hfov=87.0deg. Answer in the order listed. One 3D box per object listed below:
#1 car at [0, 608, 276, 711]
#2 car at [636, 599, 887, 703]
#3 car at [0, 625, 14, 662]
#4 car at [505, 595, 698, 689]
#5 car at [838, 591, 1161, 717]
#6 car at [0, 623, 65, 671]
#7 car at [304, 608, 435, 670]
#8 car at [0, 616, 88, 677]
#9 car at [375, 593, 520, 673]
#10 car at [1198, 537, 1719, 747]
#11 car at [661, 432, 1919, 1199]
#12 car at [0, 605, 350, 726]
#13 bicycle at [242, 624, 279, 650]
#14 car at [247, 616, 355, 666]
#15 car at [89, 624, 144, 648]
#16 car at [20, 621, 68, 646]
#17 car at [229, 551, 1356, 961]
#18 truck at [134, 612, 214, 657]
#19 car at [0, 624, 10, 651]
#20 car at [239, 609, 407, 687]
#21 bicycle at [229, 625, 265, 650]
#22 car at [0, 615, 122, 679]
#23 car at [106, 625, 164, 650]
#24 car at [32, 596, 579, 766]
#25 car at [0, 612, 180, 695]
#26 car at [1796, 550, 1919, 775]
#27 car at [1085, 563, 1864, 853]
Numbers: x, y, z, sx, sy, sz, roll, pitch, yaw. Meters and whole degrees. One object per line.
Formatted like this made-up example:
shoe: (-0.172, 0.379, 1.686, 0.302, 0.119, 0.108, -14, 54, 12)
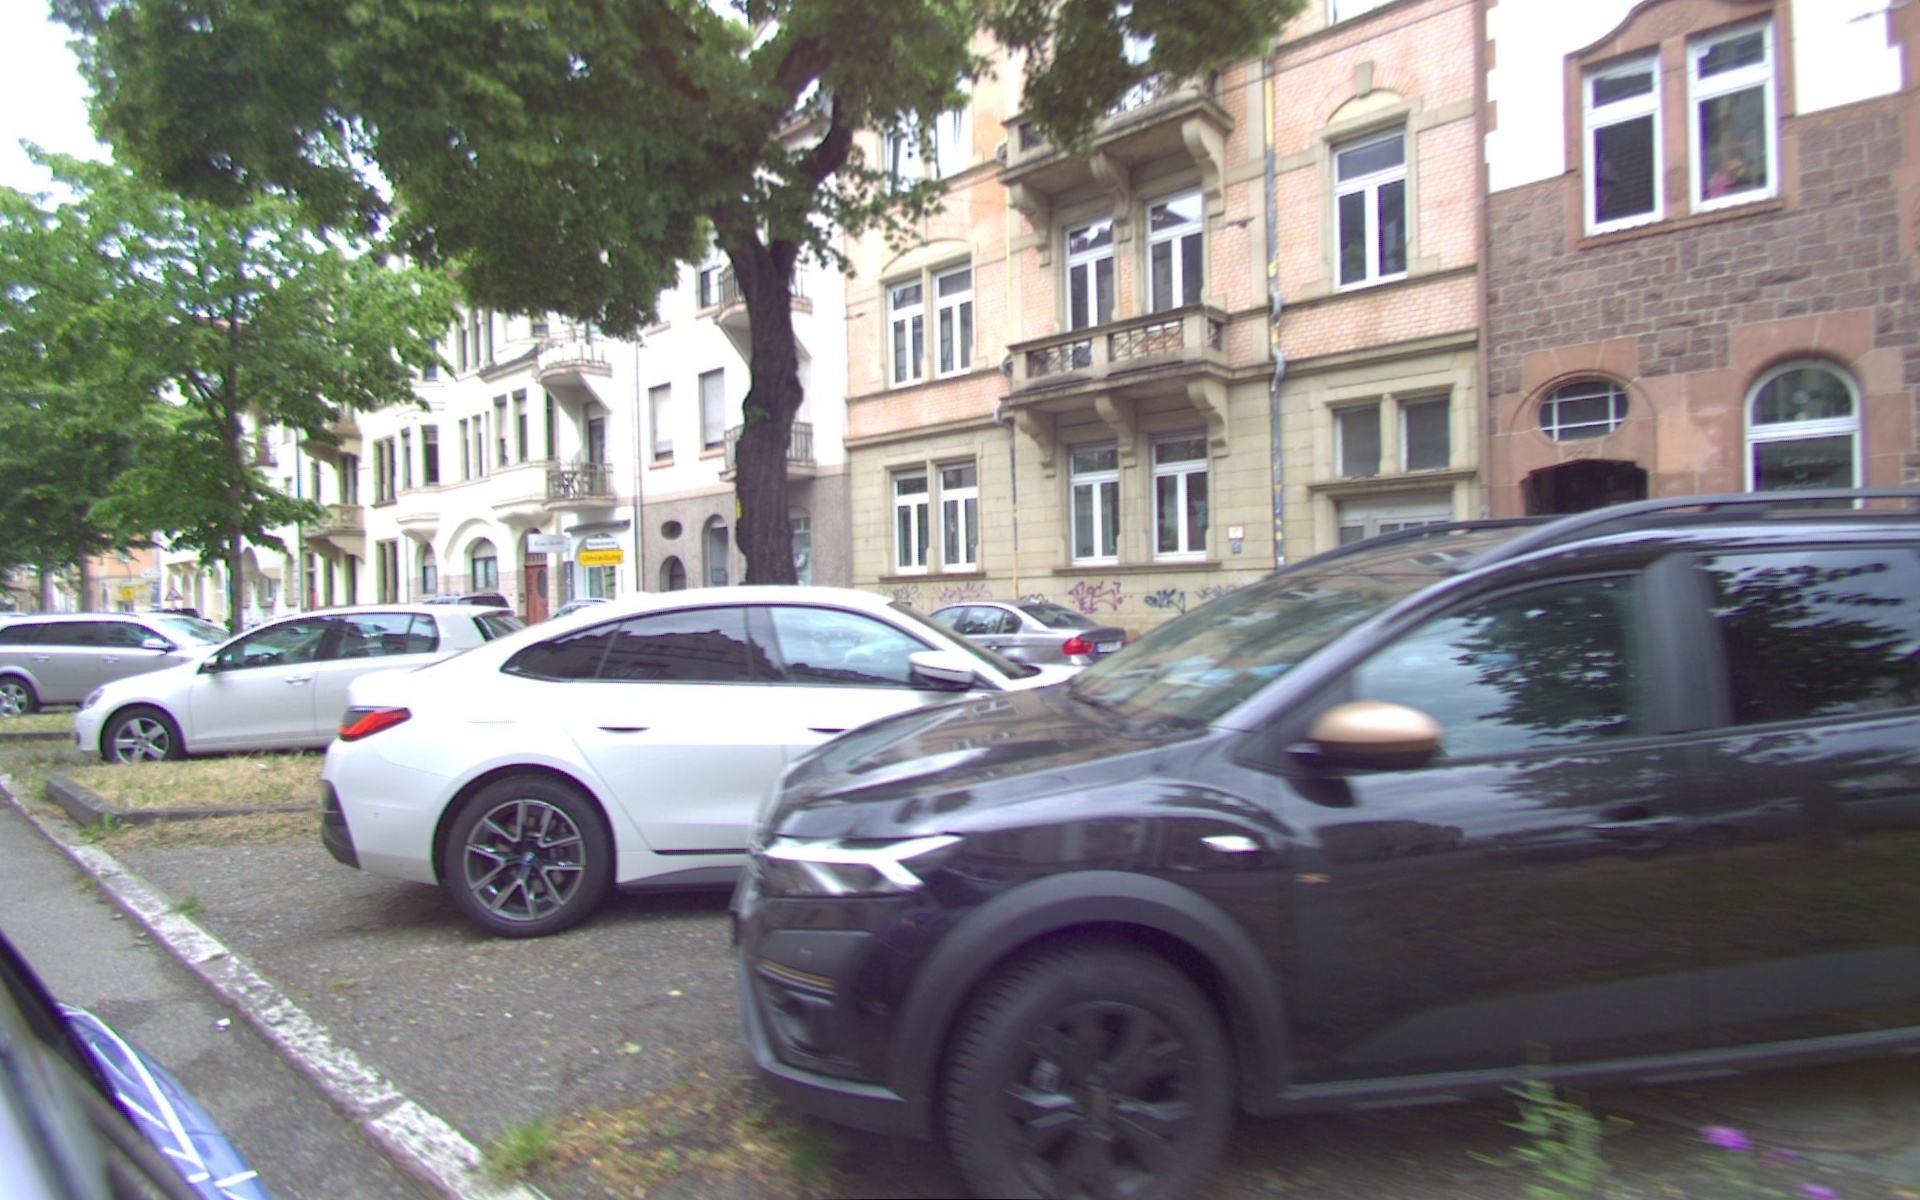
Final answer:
car: (-13.925, 0.951, 16.744, 3.940, 1.496, 1.777, -2, 0, -4)
car: (-3.421, 0.772, 16.950, 4.384, 1.501, 1.786, -1, 0, 41)
car: (-40.336, 1.795, 40.035, 3.939, 1.478, 1.900, -2, -2, -5)
car: (-7.350, 0.792, 20.537, 4.270, 1.692, 1.786, -1, 0, 41)
car: (0.434, 0.654, 13.894, 4.227, 1.449, 1.786, -1, 0, 41)
car: (-32.673, 1.587, 33.368, 4.540, 1.477, 1.887, -2, 0, -3)
car: (-17.321, 1.121, 29.629, 4.488, 1.672, 1.833, -2, -1, 39)
car: (-27.047, 1.351, 28.289, 3.756, 1.538, 1.677, -3, 1, -4)
car: (-13.262, 0.817, 26.065, 4.429, 1.885, 1.831, -2, -1, 42)
car: (4.734, 0.345, 10.001, 4.317, 1.640, 1.751, -1, 0, 41)
car: (1.596, 0.476, 2.965, 4.464, 1.645, 1.767, -1, 0, -5)
car: (-11.704, 0.909, 14.699, 4.497, 1.504, 1.865, -2, 1, -3)
bicycle: (-32.597, 1.710, 47.159, 1.908, 1.135, 0.607, -2, 2, 30)
car: (-22.092, 1.351, 33.883, 4.190, 1.534, 1.833, -2, -1, 39)
car: (-45.262, 1.942, 54.286, 3.377, 1.185, 1.619, -2, 0, 39)
car: (-63.350, 2.287, 69.979, 4.508, 1.617, 1.773, -2, 0, 39)
car: (-0.672, 0.591, 5.100, 4.473, 1.501, 2.038, -1, 0, -5)
truck: (-35.607, 1.528, 45.774, 6.066, 1.870, 2.121, -2, 0, 45)
car: (-53.527, 2.053, 53.887, 3.931, 1.426, 1.904, -1, -2, -28)
car: (-13.894, 0.975, 21.964, 4.649, 1.464, 1.786, -1, 0, 41)
bicycle: (-34.168, 1.810, 48.499, 1.908, 1.135, 0.607, -2, 2, 30)
car: (-24.297, 1.207, 26.398, 3.374, 1.538, 1.693, -1, 1, -7)
car: (-41.741, 1.878, 51.204, 3.377, 1.185, 1.619, -2, 0, 39)
car: (-6.098, 0.695, 9.897, 4.066, 1.322, 1.866, -2, 0, -6)
car: (-19.435, 1.116, 21.555, 4.141, 1.621, 1.728, -1, 1, -8)
car: (8.133, 0.405, 6.899, 3.720, 1.571, 1.645, -1, 0, 41)
car: (3.354, 0.563, 7.309, 4.649, 1.464, 1.786, -1, 0, 41)
